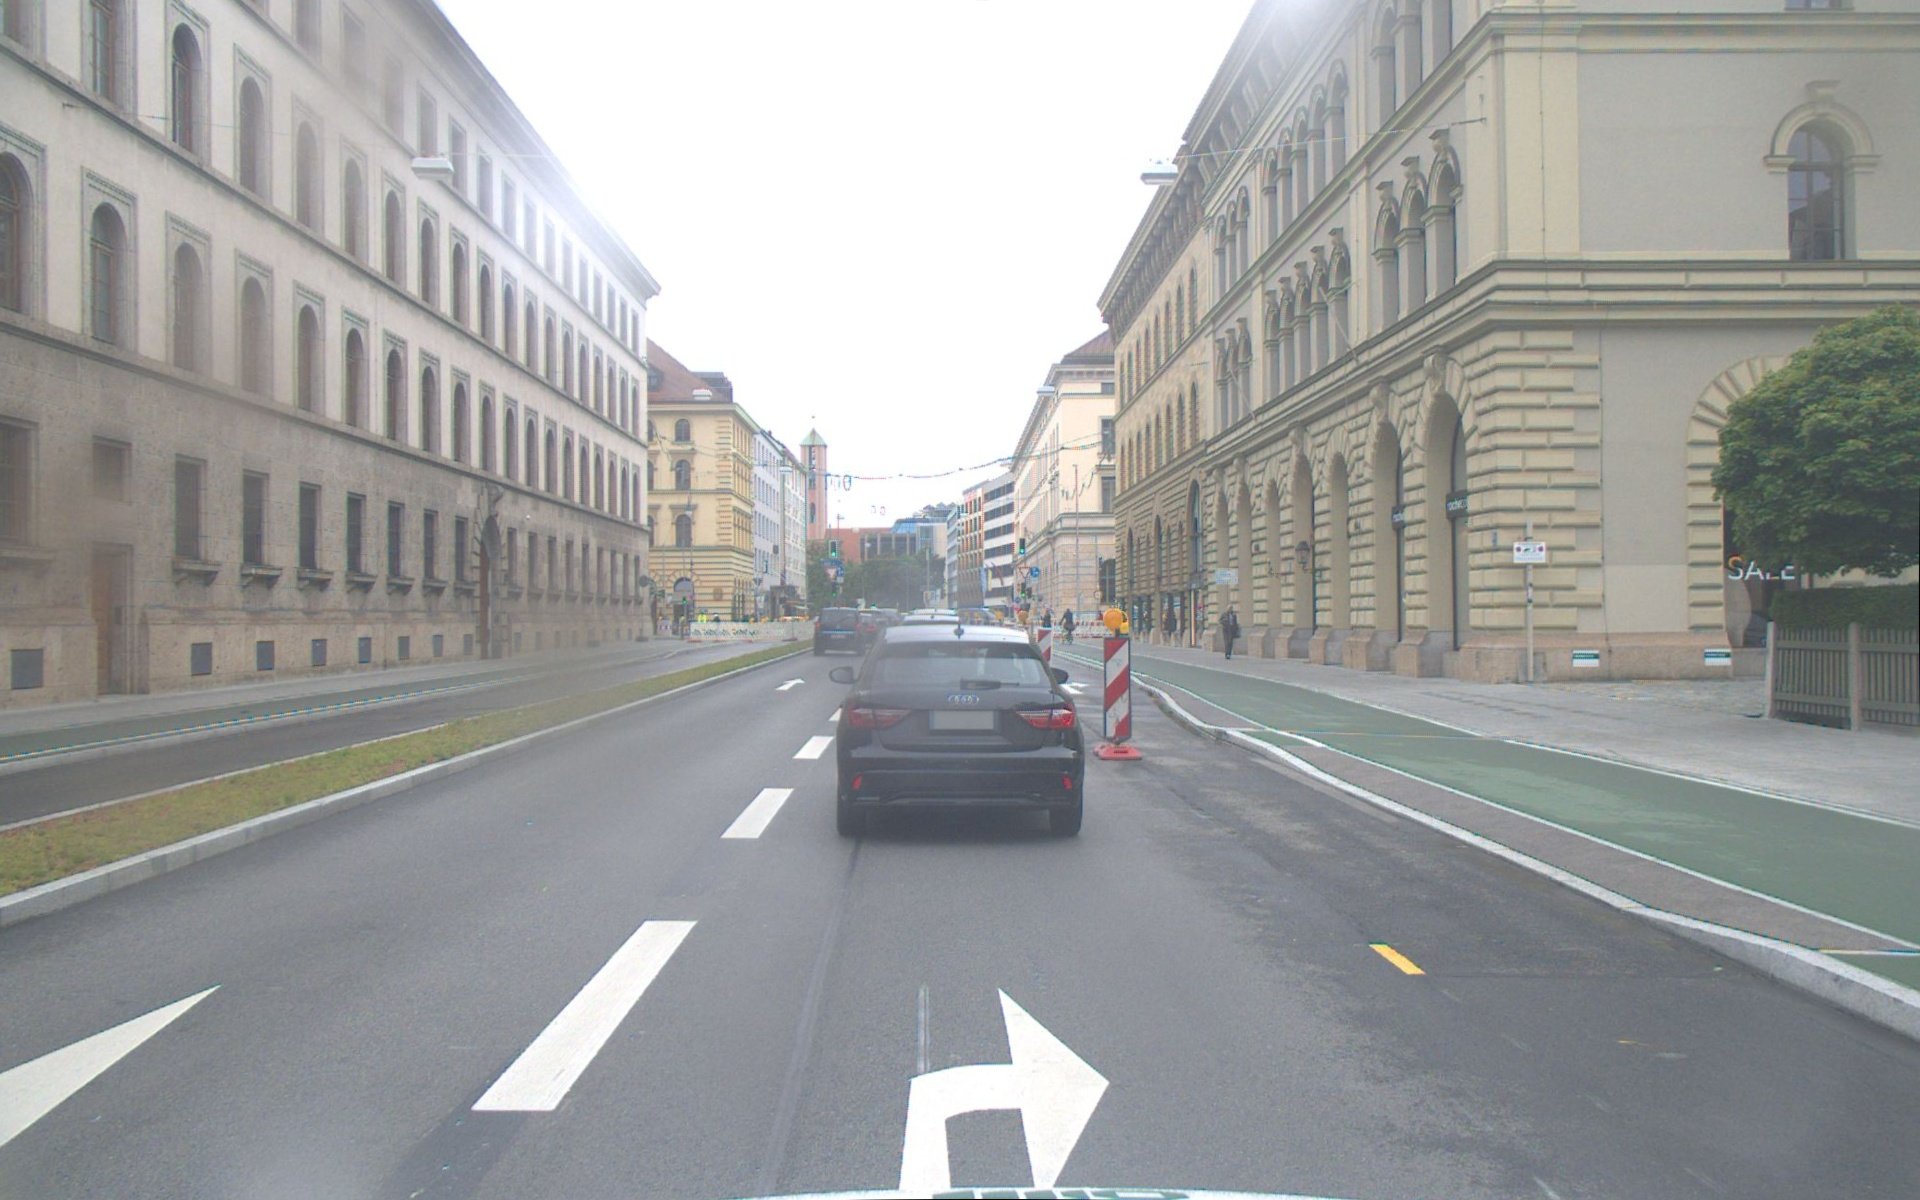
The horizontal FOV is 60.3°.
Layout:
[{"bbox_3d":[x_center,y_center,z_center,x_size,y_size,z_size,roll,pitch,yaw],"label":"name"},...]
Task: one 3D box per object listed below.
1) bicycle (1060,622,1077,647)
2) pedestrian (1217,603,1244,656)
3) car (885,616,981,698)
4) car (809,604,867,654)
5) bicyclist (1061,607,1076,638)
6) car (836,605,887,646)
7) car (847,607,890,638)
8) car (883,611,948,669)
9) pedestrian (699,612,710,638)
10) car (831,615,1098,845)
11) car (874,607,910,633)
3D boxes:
[{"bbox_3d":[5.344,1.693,81.609,0.713,1.177,2.172,0,0,2],"label":"bicycle"},{"bbox_3d":[8.540,0.922,52.253,0.695,1.646,0.754,0,-1,-2],"label":"pedestrian"},{"bbox_3d":[-0.526,1.032,31.563,1.695,1.427,3.999,1,0,-1],"label":"car"},{"bbox_3d":[-4.159,0.965,56.904,1.729,1.644,4.029,1,0,-1],"label":"car"},{"bbox_3d":[5.342,1.089,81.610,0.695,1.526,0.754,0,-1,1],"label":"bicyclist"},{"bbox_3d":[-4.127,1.054,69.717,1.953,1.656,3.999,0,0,-1],"label":"car"},{"bbox_3d":[-4.486,1.114,81.645,1.953,1.469,3.999,0,0,-1],"label":"car"},{"bbox_3d":[-1.200,1.063,45.512,1.695,1.486,3.999,1,0,-1],"label":"car"},{"bbox_3d":[-18.329,1.799,118.590,0.642,1.836,0.727,0,-1,-2],"label":"pedestrian"},{"bbox_3d":[-0.004,0.852,12.596,1.695,1.427,3.999,1,0,-1],"label":"car"},{"bbox_3d":[-3.835,1.127,93.911,1.953,1.469,3.999,0,0,-1],"label":"car"}]
